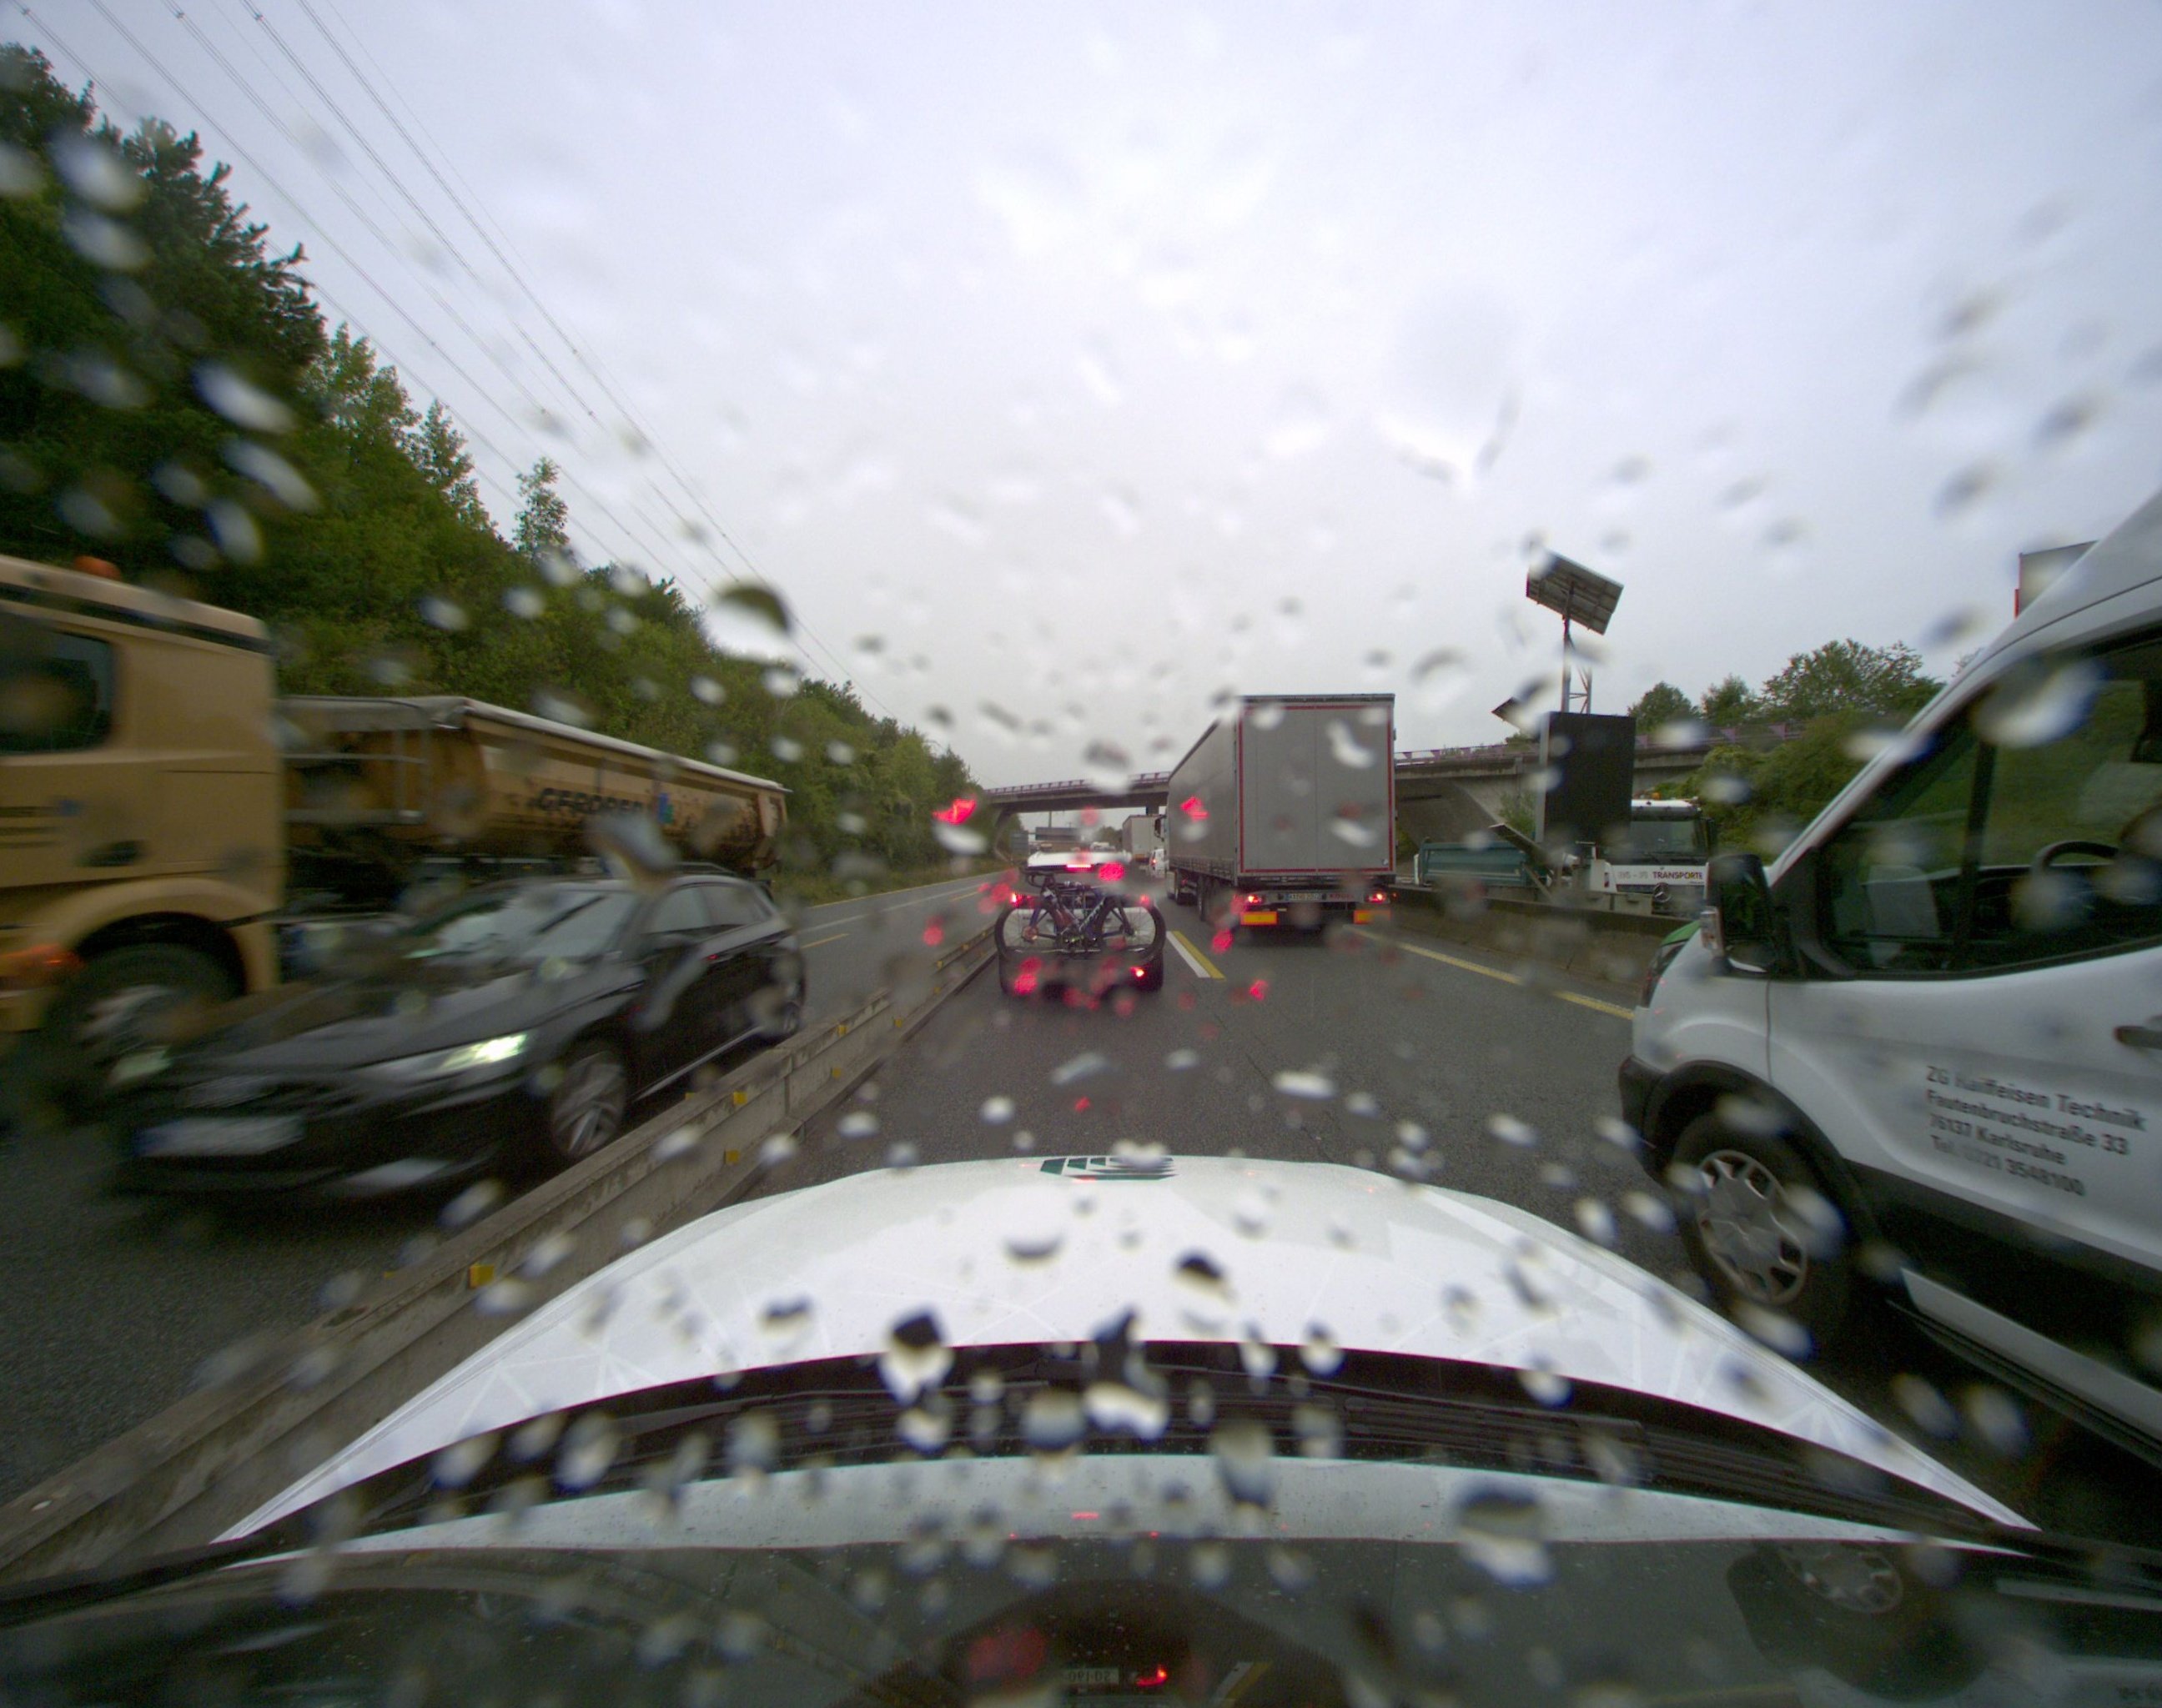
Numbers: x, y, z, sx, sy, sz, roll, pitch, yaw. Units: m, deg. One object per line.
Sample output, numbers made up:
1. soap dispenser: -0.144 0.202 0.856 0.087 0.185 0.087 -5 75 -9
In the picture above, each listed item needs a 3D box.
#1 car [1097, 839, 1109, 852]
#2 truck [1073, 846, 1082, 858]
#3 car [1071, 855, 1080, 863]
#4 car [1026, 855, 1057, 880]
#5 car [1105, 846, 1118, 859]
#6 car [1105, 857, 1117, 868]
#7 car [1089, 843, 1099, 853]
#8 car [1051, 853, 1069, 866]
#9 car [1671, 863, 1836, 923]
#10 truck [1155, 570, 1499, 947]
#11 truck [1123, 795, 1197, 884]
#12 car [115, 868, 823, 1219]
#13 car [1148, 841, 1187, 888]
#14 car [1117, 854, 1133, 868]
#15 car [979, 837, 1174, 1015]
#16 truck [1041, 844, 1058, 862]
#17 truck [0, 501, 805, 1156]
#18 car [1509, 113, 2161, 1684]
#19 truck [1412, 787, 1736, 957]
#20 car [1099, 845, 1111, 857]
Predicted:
1. car: 4.131 -1.594 152.180 2.231 2.307 4.574 -1 0 2
2. truck: -0.970 -0.596 252.982 2.526 3.352 12.051 -1 0 1
3. car: -1.052 0.919 152.258 1.680 1.409 3.929 -1 0 0
4. car: -2.588 0.879 54.180 1.804 1.559 3.990 -1 0 1
5. car: 4.760 -0.270 127.641 1.986 2.014 4.002 -1 0 2
6. car: 4.185 1.255 115.171 1.632 1.497 3.667 -1 0 2
7. car: 2.760 -1.260 169.571 1.986 2.126 4.528 -1 0 2
8. car: -2.385 0.625 91.770 1.804 1.488 4.397 -1 0 1
9. car: 22.588 1.233 27.645 1.934 1.829 4.732 -1 0 4
10. truck: 4.637 -1.379 22.519 3.964 5.673 20.384 -1 0 2
11. truck: 5.646 -0.870 62.778 4.723 5.673 20.390 -1 0 3
12. car: -3.189 0.824 5.383 1.680 1.409 3.929 -1 0 0
13. car: 4.198 0.515 40.197 1.663 2.180 4.538 -1 0 3
14. car: 4.801 0.722 88.635 1.632 1.497 3.667 -1 0 2
15. car: 0.078 0.688 9.907 1.803 1.637 4.639 -1 0 3
16. truck: -6.466 -0.196 169.056 2.671 3.656 12.317 -1 0 2
17. truck: -6.691 -0.084 9.645 2.526 3.352 12.051 -1 0 1
18. car: 2.867 0.070 0.593 2.135 2.676 6.121 -1 0 3
19. truck: 11.018 0.360 19.704 2.511 3.131 9.121 -1 0 2
20. car: 4.068 -0.464 139.494 1.986 2.014 4.002 -1 0 2
